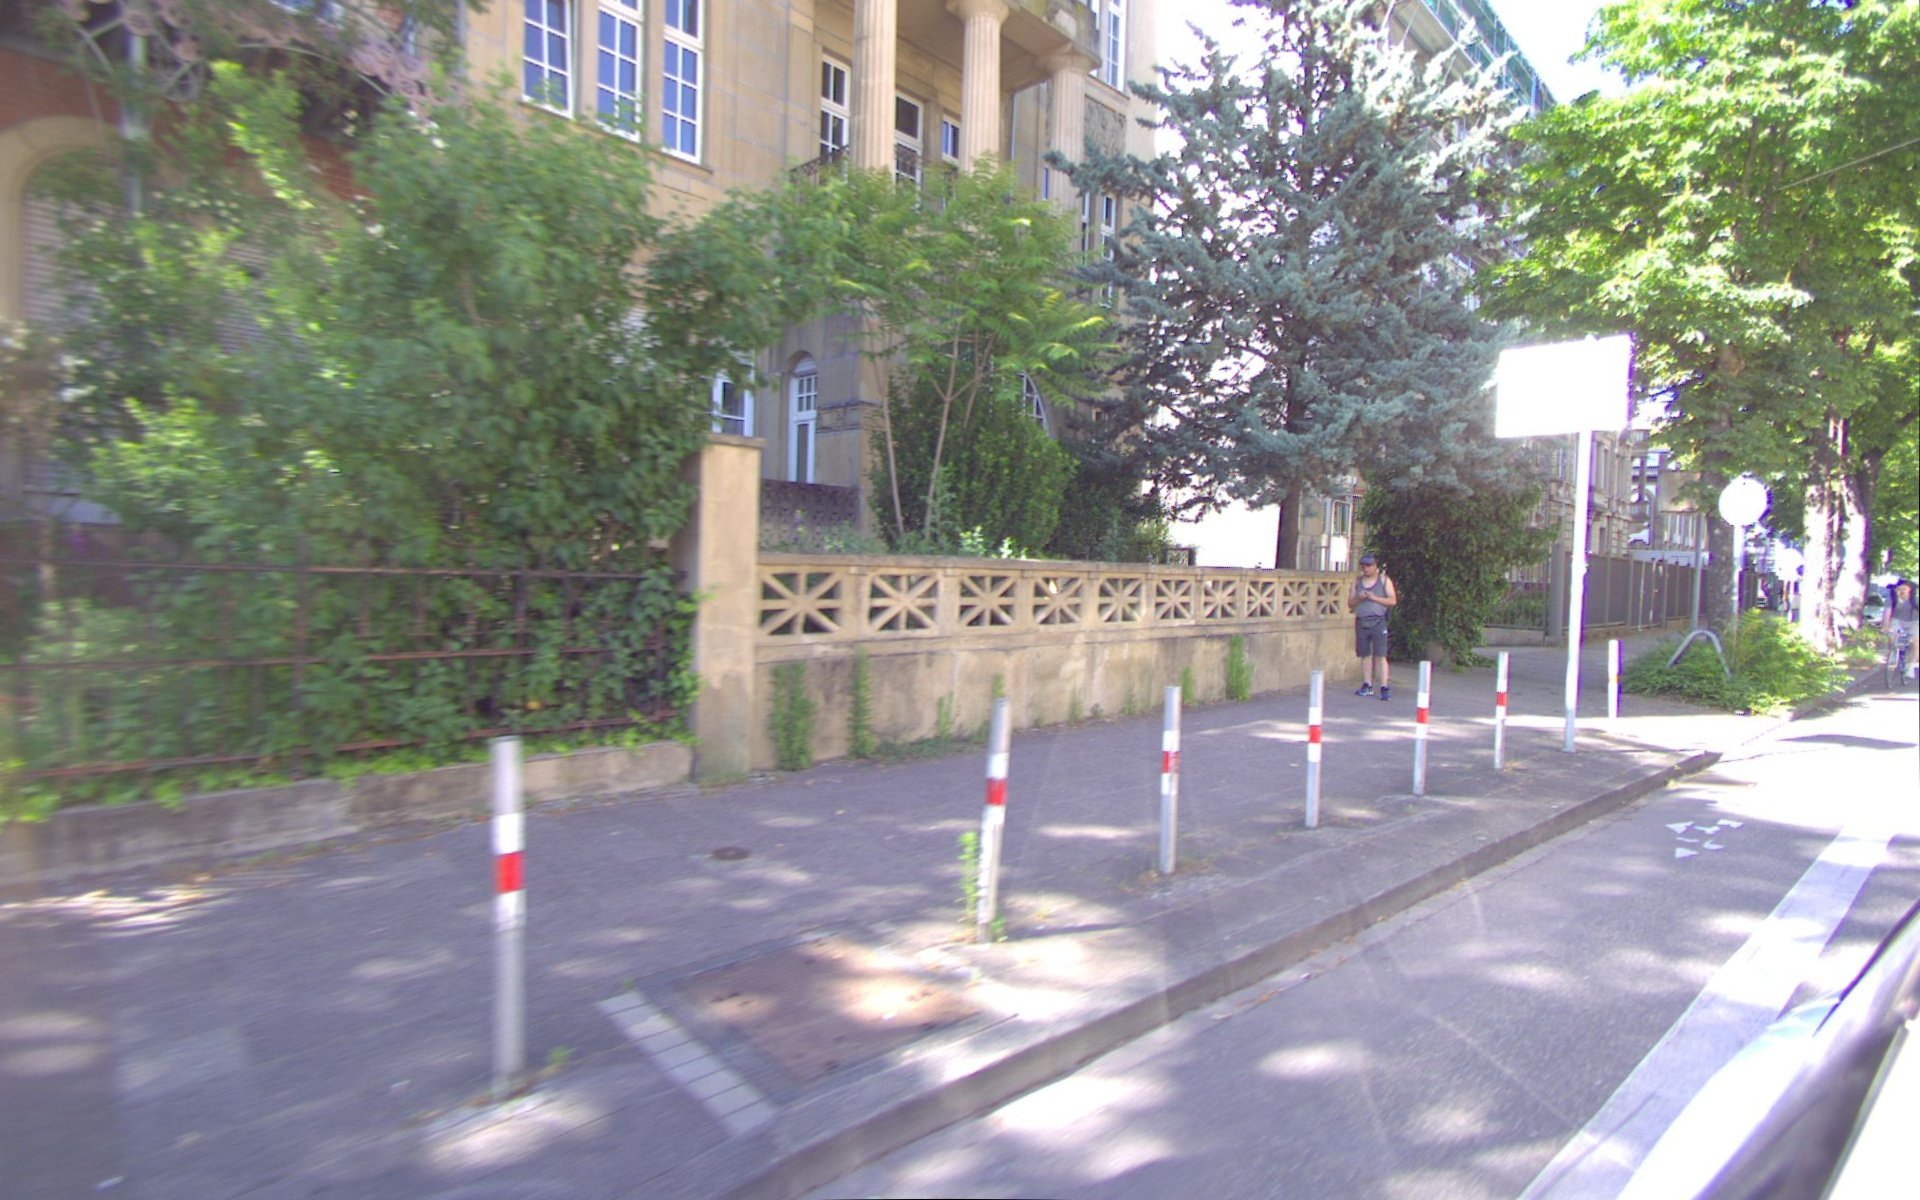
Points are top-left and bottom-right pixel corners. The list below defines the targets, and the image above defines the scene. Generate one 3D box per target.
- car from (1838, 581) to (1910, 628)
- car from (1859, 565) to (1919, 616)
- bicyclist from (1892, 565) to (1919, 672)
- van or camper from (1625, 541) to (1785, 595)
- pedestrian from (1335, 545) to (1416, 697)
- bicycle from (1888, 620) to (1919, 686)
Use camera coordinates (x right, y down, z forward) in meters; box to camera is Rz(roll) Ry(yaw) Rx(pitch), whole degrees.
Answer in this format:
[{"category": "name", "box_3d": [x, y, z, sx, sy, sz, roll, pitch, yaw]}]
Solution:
[{"category": "car", "box_3d": [35.222, 0.135, 39.026, 1.872, 1.561, 4.299, 5, 4, 42]}, {"category": "car", "box_3d": [47.933, -0.551, 52.231, 2.126, 2.371, 5.717, 5, 4, 42]}, {"category": "bicyclist", "box_3d": [15.550, 0.285, 16.437, 0.863, 1.690, 0.531, -1, 2, -44]}, {"category": "van or camper", "box_3d": [39.127, -1.696, 53.455, 2.078, 2.659, 6.753, 0, 2, -20]}, {"category": "pedestrian", "box_3d": [4.809, 0.219, 11.717, 0.636, 1.691, 0.592, -1, 4, -44]}, {"category": "bicycle", "box_3d": [15.560, 0.839, 16.469, 2.023, 0.933, 0.534, -1, 2, -44]}]
